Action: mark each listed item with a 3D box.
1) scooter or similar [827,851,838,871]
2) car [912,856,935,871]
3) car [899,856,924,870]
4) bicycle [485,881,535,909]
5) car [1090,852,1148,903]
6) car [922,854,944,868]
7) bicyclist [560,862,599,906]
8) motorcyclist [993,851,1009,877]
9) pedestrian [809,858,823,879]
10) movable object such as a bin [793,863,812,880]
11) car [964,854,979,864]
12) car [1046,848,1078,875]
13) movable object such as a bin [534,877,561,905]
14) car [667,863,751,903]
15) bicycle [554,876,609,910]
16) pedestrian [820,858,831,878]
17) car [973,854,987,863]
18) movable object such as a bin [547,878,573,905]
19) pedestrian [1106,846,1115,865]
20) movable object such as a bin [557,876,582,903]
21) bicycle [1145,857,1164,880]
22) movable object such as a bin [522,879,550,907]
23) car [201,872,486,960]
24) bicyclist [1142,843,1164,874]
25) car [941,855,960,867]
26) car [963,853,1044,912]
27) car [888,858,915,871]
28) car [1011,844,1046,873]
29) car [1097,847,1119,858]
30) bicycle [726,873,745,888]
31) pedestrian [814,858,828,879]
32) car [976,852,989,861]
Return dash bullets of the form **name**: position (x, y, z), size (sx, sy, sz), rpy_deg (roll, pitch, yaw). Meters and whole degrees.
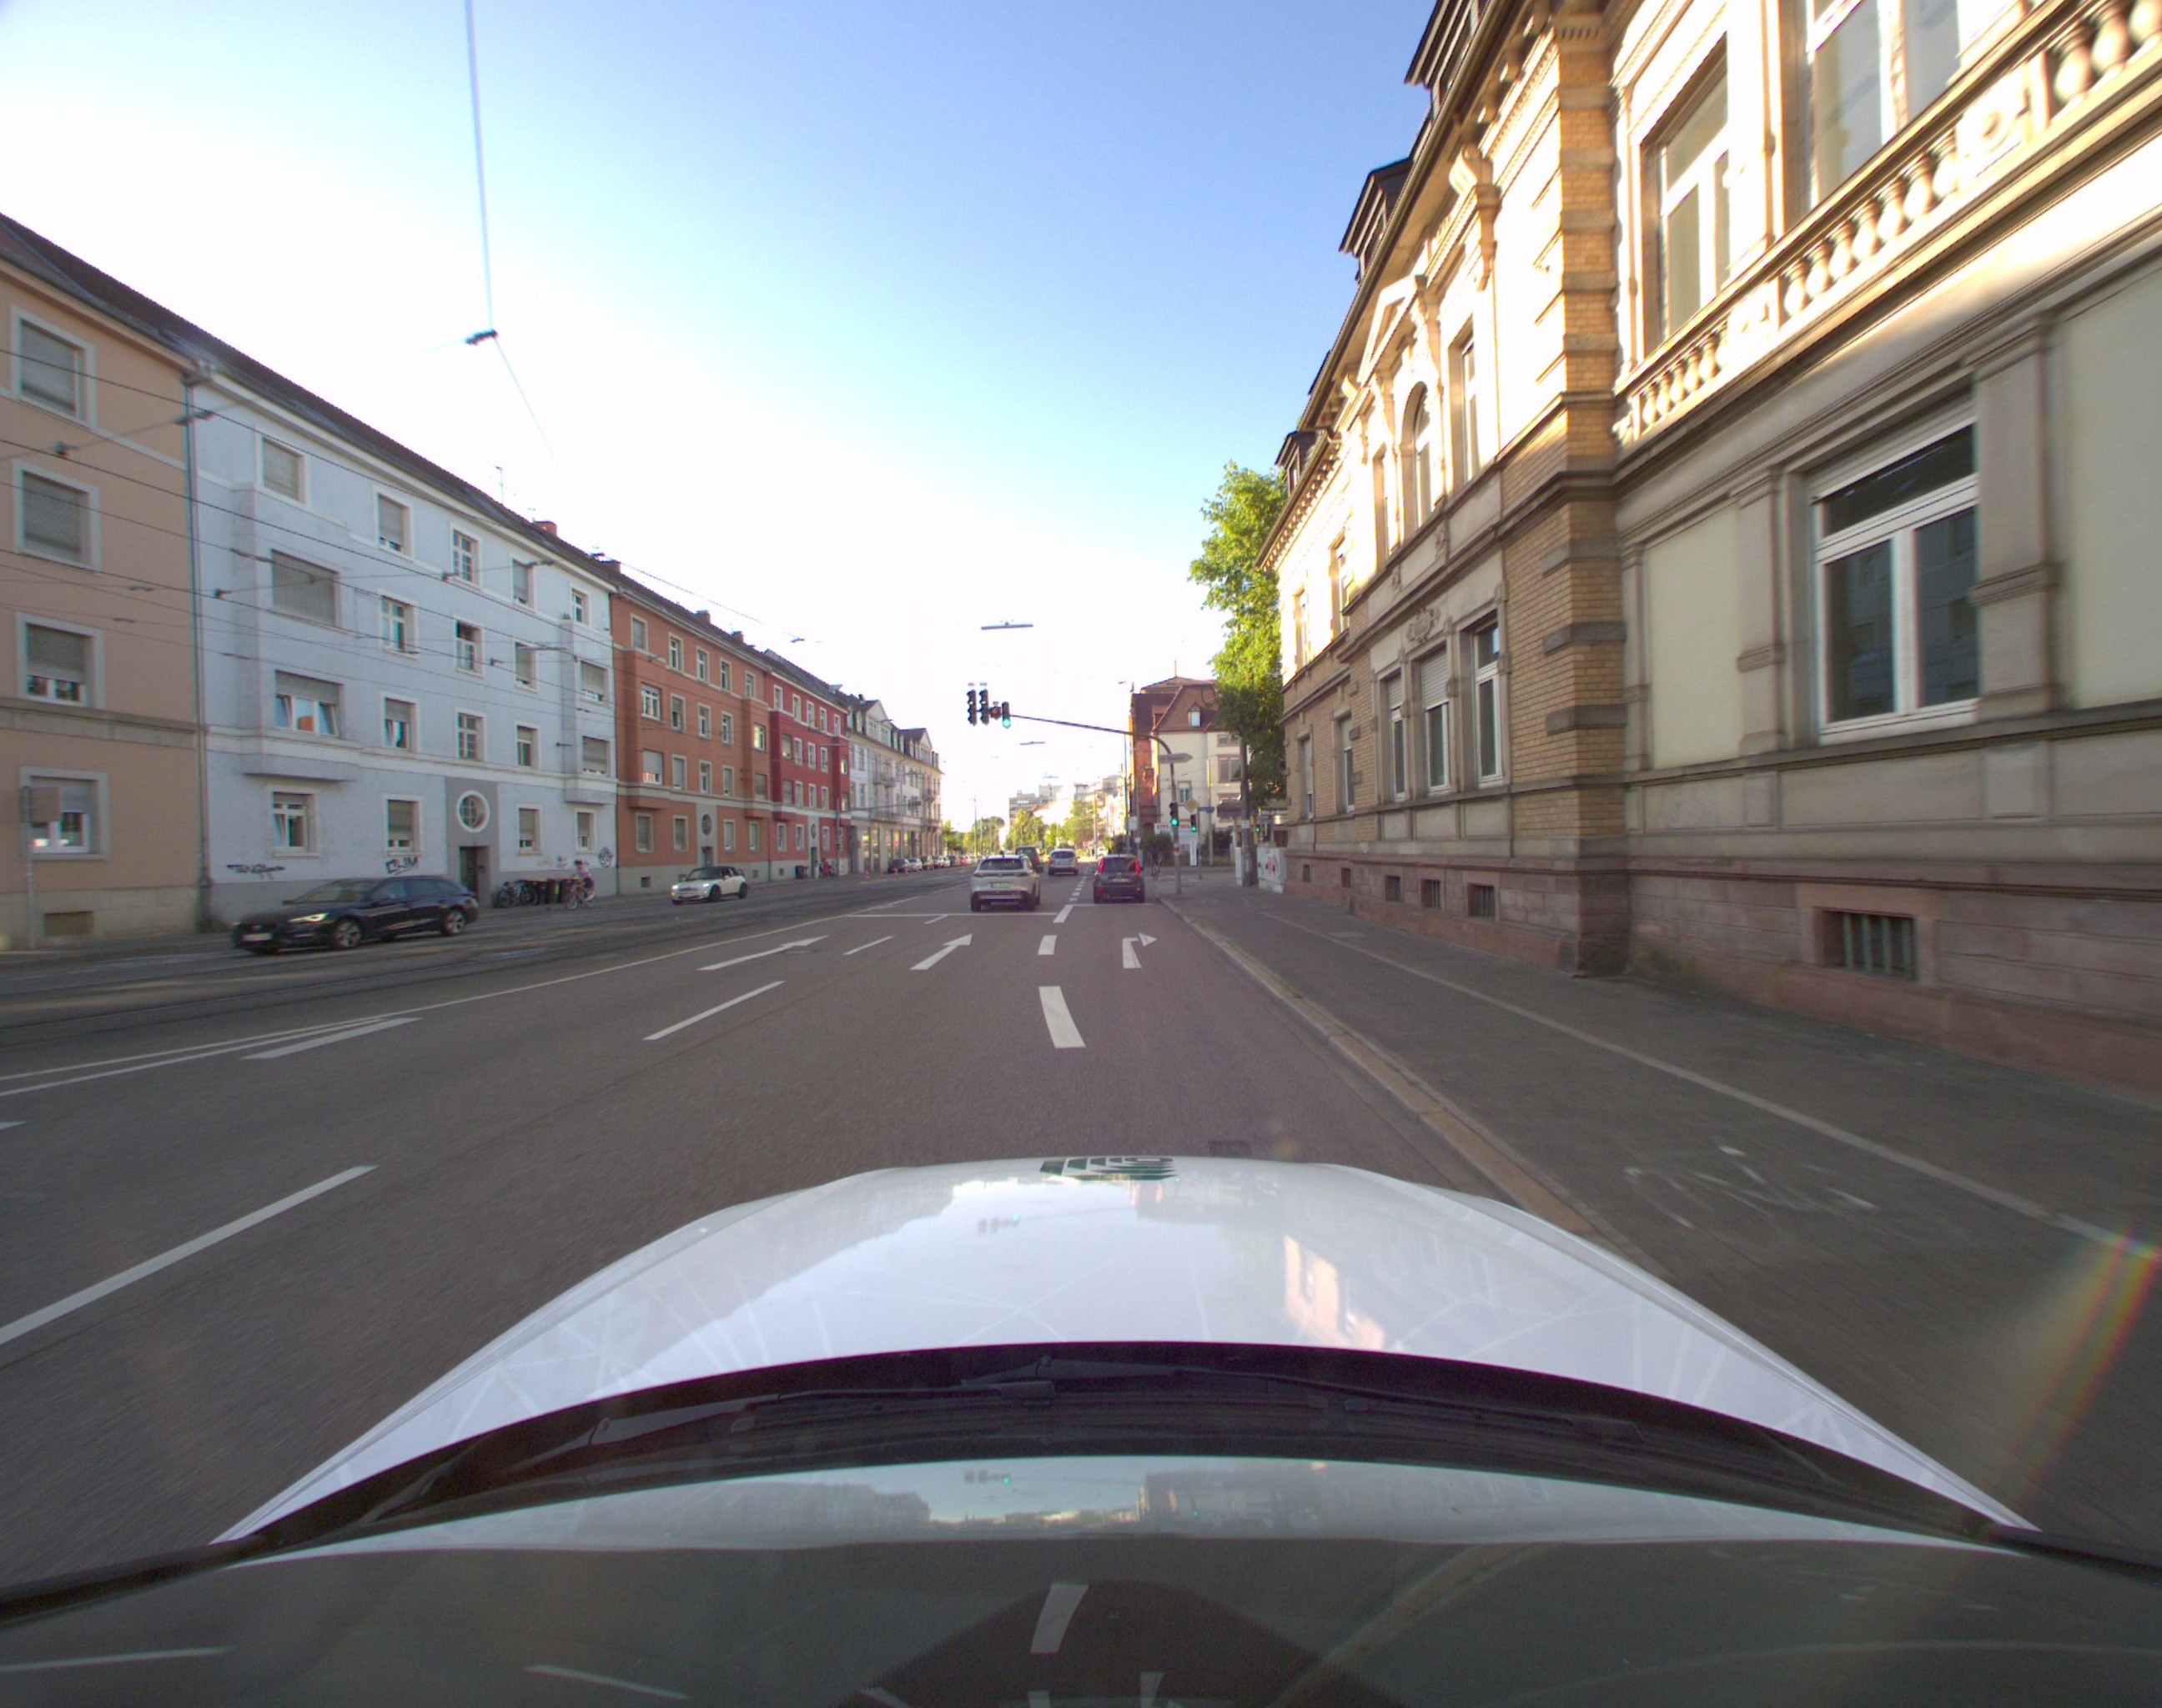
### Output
- **scooter or similar**: position (-20.495, 0.605, 67.257), size (0.657, 1.633, 0.787), rpy_deg (-1, 0, -31)
- **car**: position (-17.983, 1.086, 92.942), size (1.713, 1.552, 3.857), rpy_deg (-2, 0, 1)
- **car**: position (-18.313, 0.934, 87.991), size (1.713, 1.452, 4.001), rpy_deg (-2, 0, 1)
- **bicycle**: position (-22.321, 1.586, 31.879), size (0.603, 0.980, 1.877), rpy_deg (-1, 0, 1)
- **car**: position (1.322, 0.720, 26.885), size (1.723, 1.500, 4.005), rpy_deg (-1, 0, 5)
- **car**: position (-18.090, 0.847, 99.718), size (1.828, 1.552, 4.275), rpy_deg (-2, 0, 1)
- **bicyclist**: position (-19.418, 1.134, 31.570), size (0.743, 1.643, 1.126), rpy_deg (-2, 0, 1)
- **motorcyclist**: position (-4.409, 0.549, 44.892), size (0.774, 1.423, 0.891), rpy_deg (-1, 0, 0)
- **pedestrian**: position (-20.996, 1.127, 64.455), size (0.786, 1.633, 0.658), rpy_deg (-1, 0, 19)
- **movable object such as a bin**: position (-21.426, 1.364, 62.727), size (0.866, 1.249, 1.236), rpy_deg (-2, 0, 7)
- **car**: position (-17.257, 0.740, 128.903), size (1.713, 1.552, 4.001), rpy_deg (-1, 0, 1)
- **car**: position (-1.164, 0.445, 51.960), size (1.808, 1.582, 4.000), rpy_deg (-2, 0, 1)
- **movable object such as a bin**: position (-22.264, 1.548, 33.976), size (0.699, 1.106, 0.583), rpy_deg (-1, 0, 1)
- **car**: position (-14.873, 1.124, 32.758), size (1.720, 1.375, 3.534), rpy_deg (-2, 0, 0)
- **bicycle**: position (-19.409, 1.506, 31.699), size (0.743, 1.191, 2.153), rpy_deg (-2, 0, 2)
- **pedestrian**: position (-20.966, 1.147, 66.725), size (0.657, 1.633, 0.787), rpy_deg (-1, 0, -31)
- **car**: position (-17.376, 0.774, 139.767), size (1.713, 1.552, 4.001), rpy_deg (-2, 0, 1)
- **movable object such as a bin**: position (-22.165, 1.597, 34.652), size (0.699, 1.106, 0.583), rpy_deg (-1, 0, 1)
- **pedestrian**: position (2.908, 0.166, 80.619), size (0.872, 1.824, 1.185), rpy_deg (-1, 0, 2)
- **movable object such as a bin**: position (-22.177, 1.540, 35.338), size (0.699, 1.106, 0.583), rpy_deg (-1, 0, 1)
- **bicycle**: position (3.590, 0.695, 39.882), size (0.768, 1.086, 1.871), rpy_deg (-1, 0, 0)
- **movable object such as a bin**: position (-22.270, 1.601, 33.298), size (0.699, 1.106, 0.648), rpy_deg (-1, 0, 1)
- **car**: position (-15.425, 1.210, 17.467), size (1.915, 1.455, 4.499), rpy_deg (-2, 0, 1)
- **bicyclist**: position (3.533, 0.219, 40.086), size (0.834, 1.525, 0.990), rpy_deg (-1, 0, -12)
- **car**: position (-17.602, 0.972, 109.931), size (1.713, 1.552, 4.001), rpy_deg (-2, 0, 1)
- **car**: position (-2.186, 0.770, 23.966), size (1.941, 1.528, 4.090), rpy_deg (-1, 0, 0)
- **car**: position (-18.084, 1.050, 82.403), size (1.713, 1.232, 4.001), rpy_deg (-2, 0, 1)
- **car**: position (-3.942, 0.337, 61.621), size (2.164, 2.009, 4.809), rpy_deg (-2, 0, 1)
- **car**: position (5.581, -0.294, 168.332), size (4.256, 2.013, 1.994), rpy_deg (-1, 0, -8)
- **bicycle**: position (-21.900, 1.671, 51.610), size (0.333, 0.890, 1.607), rpy_deg (-2, 0, 6)
- **pedestrian**: position (-20.904, 1.183, 65.576), size (0.835, 1.633, 0.786), rpy_deg (-1, 0, -37)
- **car**: position (-17.640, 0.481, 145.785), size (1.713, 1.552, 4.001), rpy_deg (-2, 0, 1)
